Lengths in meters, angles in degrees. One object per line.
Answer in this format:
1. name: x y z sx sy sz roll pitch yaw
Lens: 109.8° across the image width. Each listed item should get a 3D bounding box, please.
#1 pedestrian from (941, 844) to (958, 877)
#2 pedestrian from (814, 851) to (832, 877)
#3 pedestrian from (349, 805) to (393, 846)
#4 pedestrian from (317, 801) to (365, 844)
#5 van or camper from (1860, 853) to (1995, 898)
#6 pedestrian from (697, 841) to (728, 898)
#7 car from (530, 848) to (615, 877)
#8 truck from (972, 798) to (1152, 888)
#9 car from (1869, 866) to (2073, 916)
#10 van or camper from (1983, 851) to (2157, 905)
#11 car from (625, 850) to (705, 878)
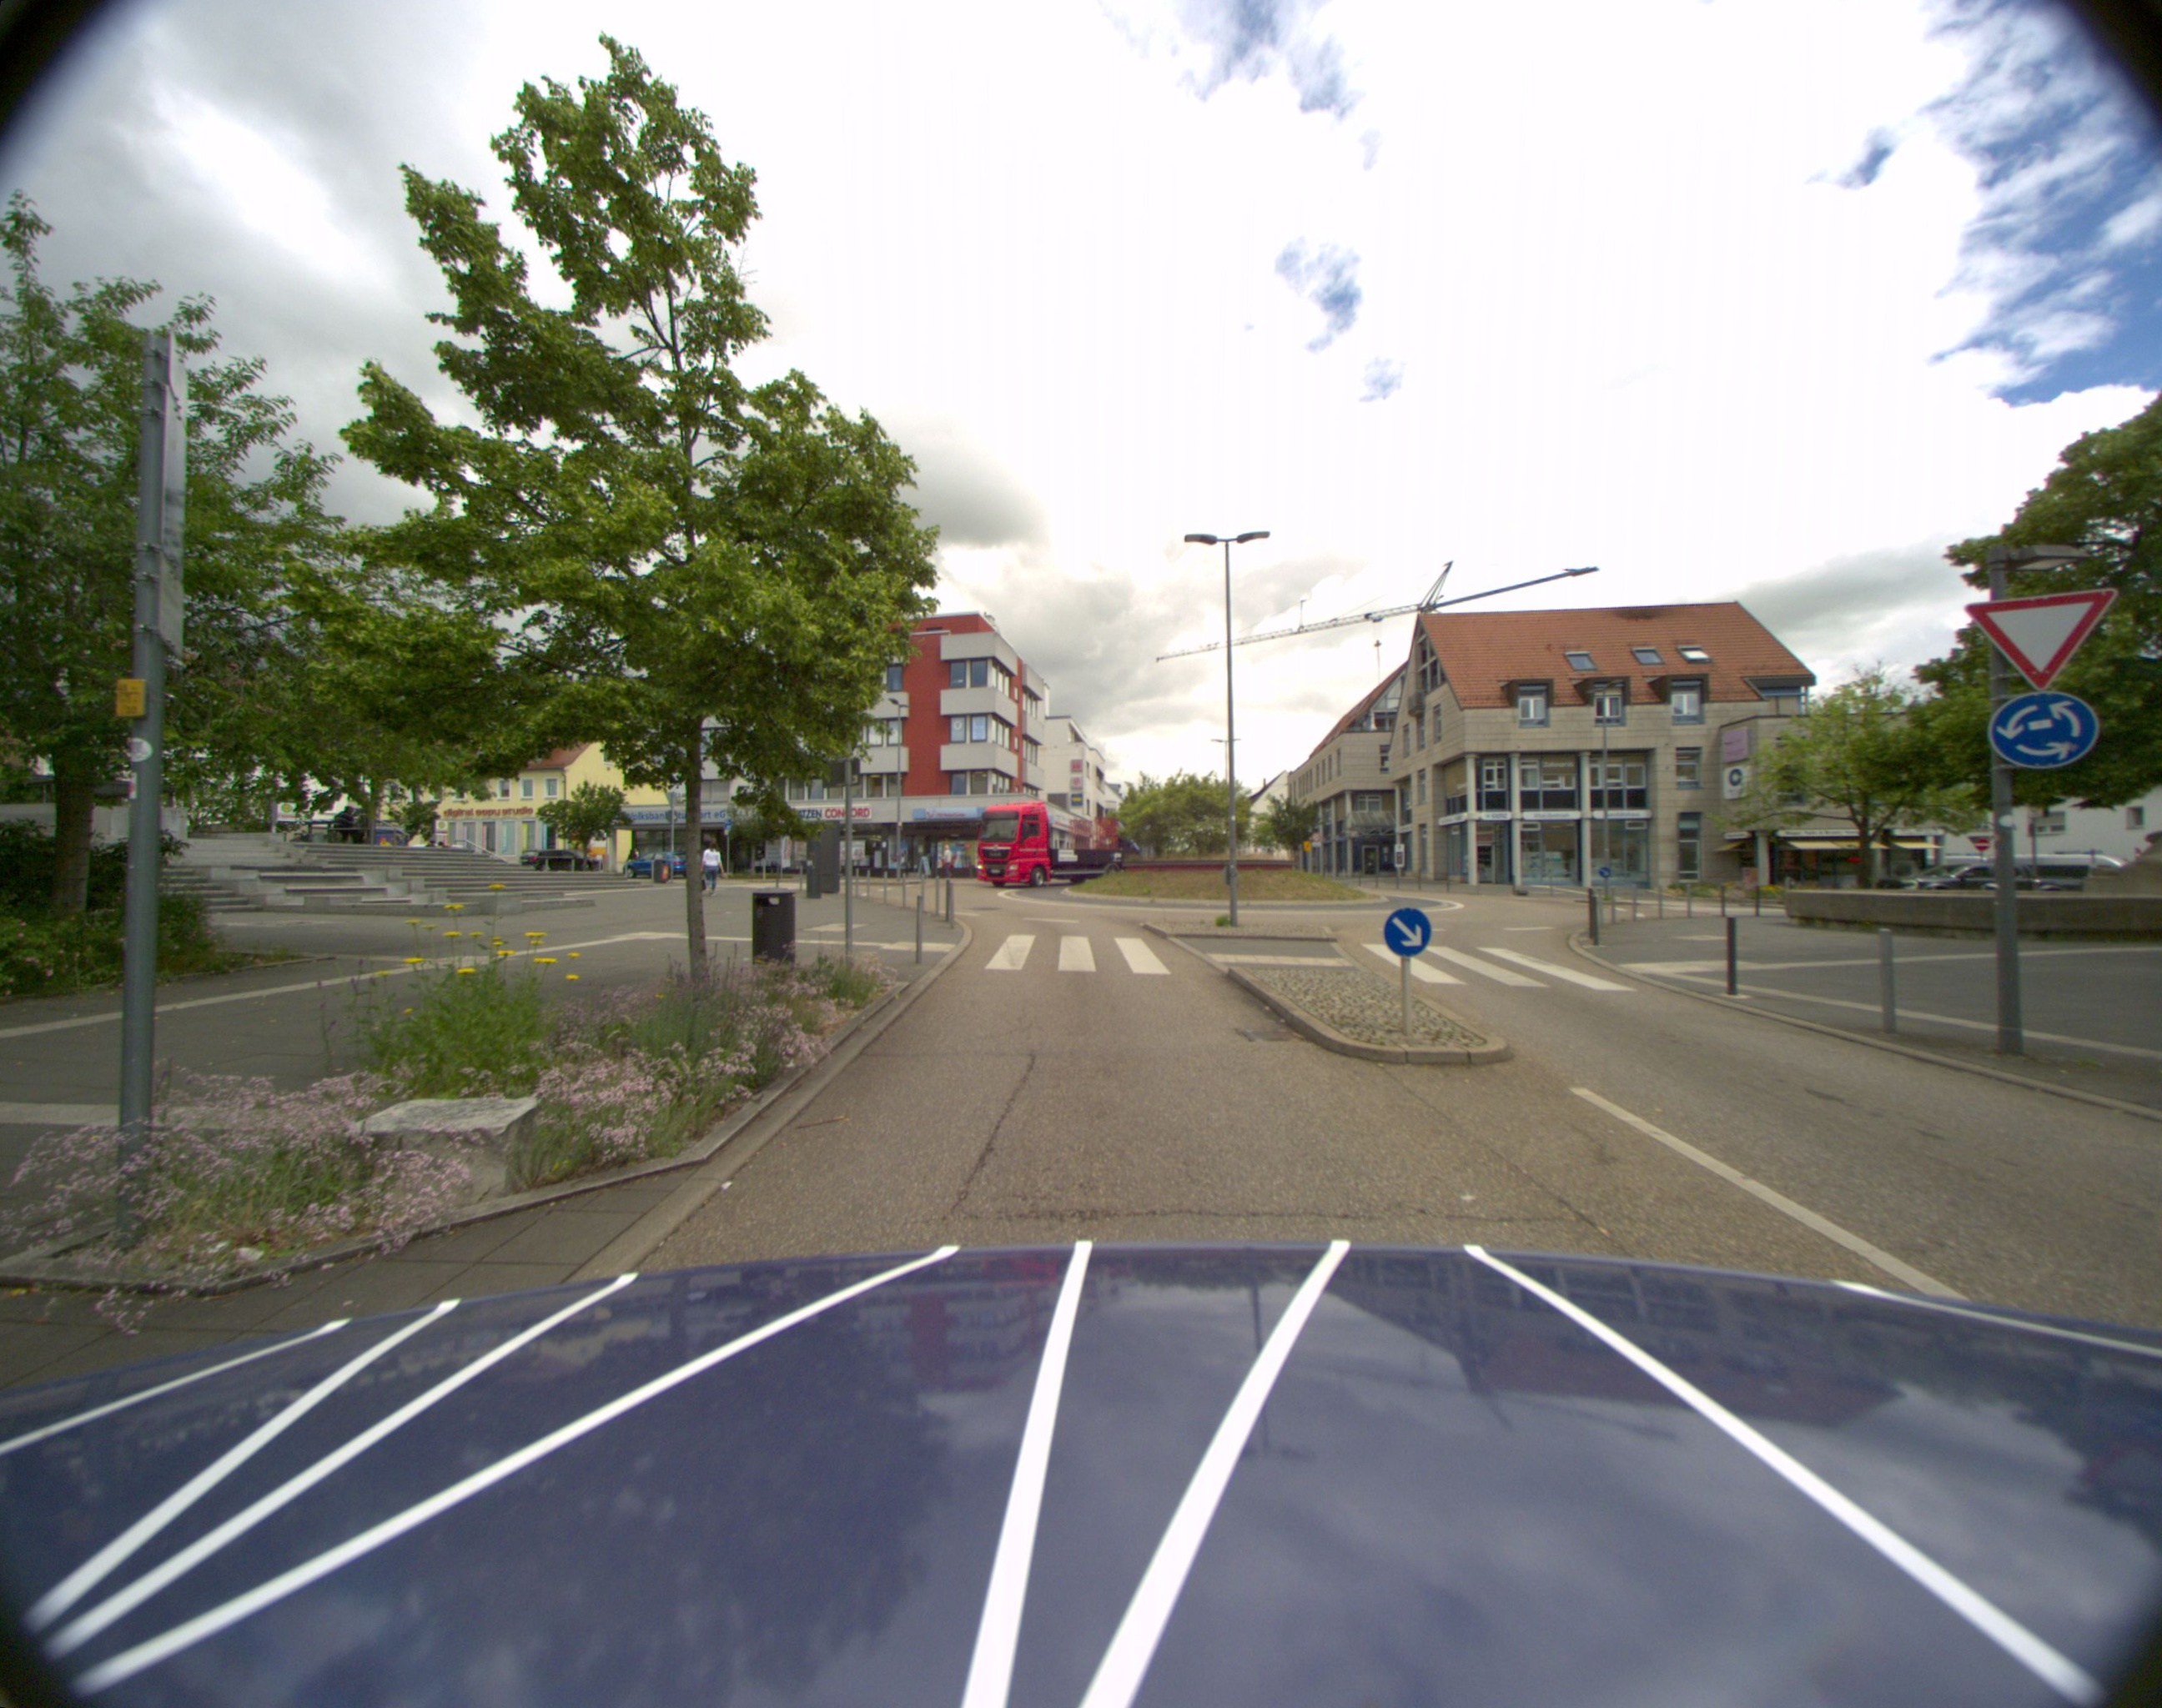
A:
1. pedestrian: -7.627 0.363 44.208 0.684 1.902 0.767 -1 1 11
2. pedestrian: -15.930 0.598 46.909 0.684 1.574 0.767 -1 1 11
3. pedestrian: -23.379 -0.924 25.026 0.694 1.317 0.764 -1 1 7
4. pedestrian: -23.458 -0.977 24.097 0.694 1.317 0.764 -1 1 7
5. van or camper: 47.208 1.138 42.520 2.002 2.368 4.667 -1 0 -22
6. pedestrian: -11.577 0.469 23.853 0.768 1.721 0.751 -2 1 -30
7. car: -36.764 0.610 55.165 2.409 2.002 5.034 0 0 7
8. truck: -0.519 -0.591 37.333 2.675 3.821 10.869 -1 1 36
9. car: 32.528 1.344 27.919 4.884 1.644 1.748 -1 1 10
10. van or camper: 46.586 1.076 35.947 2.002 2.368 4.667 -1 0 -22
11. car: -24.544 0.589 44.843 3.824 1.554 1.820 -1 1 12
